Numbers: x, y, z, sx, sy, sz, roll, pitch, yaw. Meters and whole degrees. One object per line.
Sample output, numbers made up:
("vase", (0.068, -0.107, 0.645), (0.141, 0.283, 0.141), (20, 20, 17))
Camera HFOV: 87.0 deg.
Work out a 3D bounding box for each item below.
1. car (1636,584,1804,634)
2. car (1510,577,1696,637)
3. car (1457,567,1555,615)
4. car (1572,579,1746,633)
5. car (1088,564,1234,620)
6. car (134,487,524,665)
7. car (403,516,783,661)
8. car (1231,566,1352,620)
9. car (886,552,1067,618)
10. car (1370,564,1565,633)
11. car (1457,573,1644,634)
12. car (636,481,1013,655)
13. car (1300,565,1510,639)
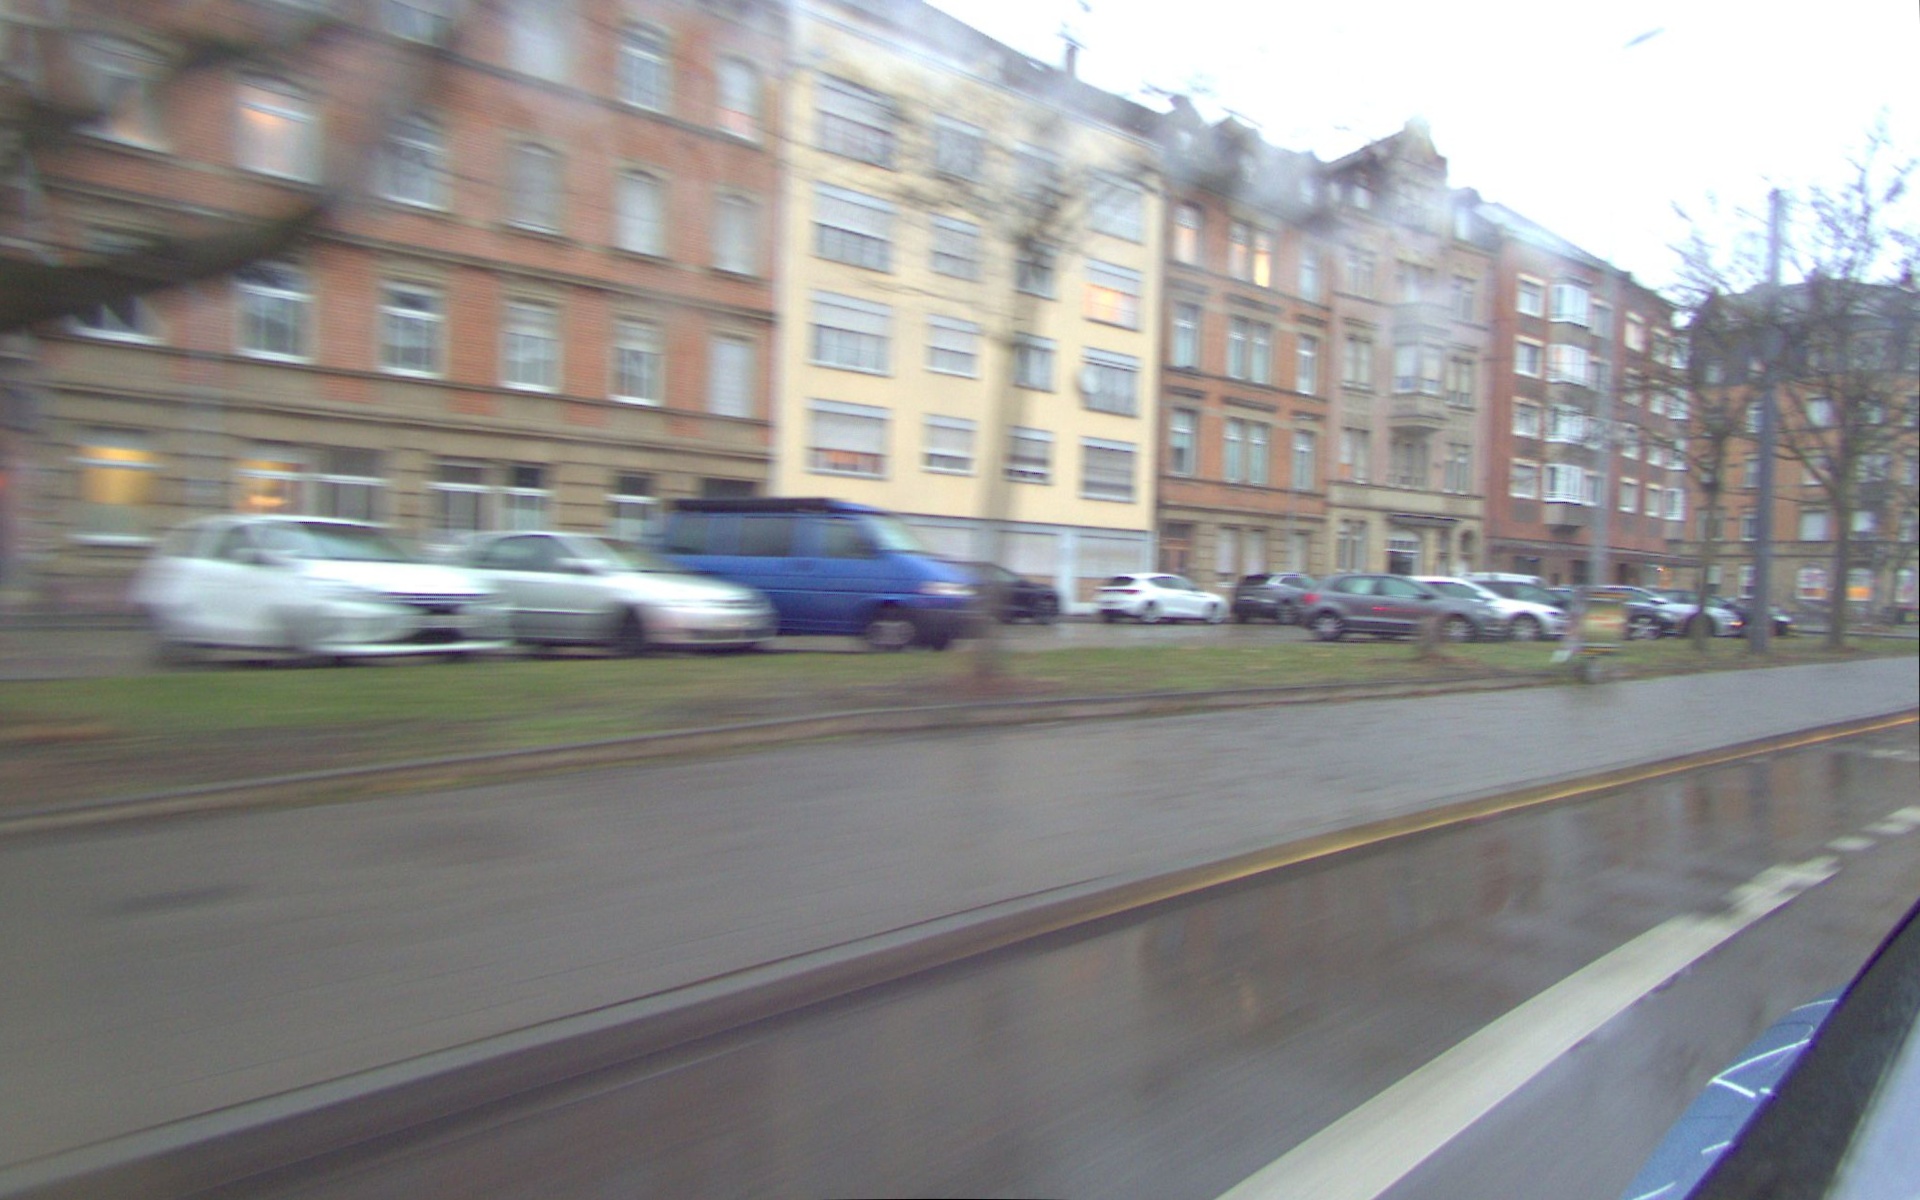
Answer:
("car", (21.789, 0.229, 29.201), (3.739, 1.371, 1.583), (0, 0, 33))
("car", (15.990, 0.137, 25.396), (3.730, 1.294, 1.587), (3, 1, 27))
("car", (20.612, -0.338, 38.196), (3.396, 1.725, 1.677), (-1, 0, -29))
("car", (18.619, 0.127, 27.151), (3.739, 1.371, 1.583), (0, 0, 33))
("car", (5.829, -0.242, 29.195), (4.096, 1.496, 1.753), (-1, 0, -33))
("car", (-6.245, -0.198, 9.960), (3.743, 1.450, 1.743), (0, 0, 30))
("car", (-4.152, -0.111, 11.486), (3.949, 1.433, 1.631), (0, 0, 20))
("car", (10.480, -0.212, 31.911), (3.795, 1.562, 1.476), (1, 2, -31))
("car", (0.430, -0.364, 25.021), (4.129, 1.463, 1.746), (1, 3, -30))
("car", (11.354, -0.080, 22.703), (3.740, 1.349, 1.583), (3, 3, 33))
("car", (13.987, 0.060, 24.069), (3.739, 1.348, 1.583), (0, 0, 33))
("car", (-1.779, -0.398, 13.349), (4.663, 2.008, 1.787), (1, 0, 20))
("car", (9.168, 0.036, 20.953), (3.838, 1.424, 1.678), (0, 0, 28))
